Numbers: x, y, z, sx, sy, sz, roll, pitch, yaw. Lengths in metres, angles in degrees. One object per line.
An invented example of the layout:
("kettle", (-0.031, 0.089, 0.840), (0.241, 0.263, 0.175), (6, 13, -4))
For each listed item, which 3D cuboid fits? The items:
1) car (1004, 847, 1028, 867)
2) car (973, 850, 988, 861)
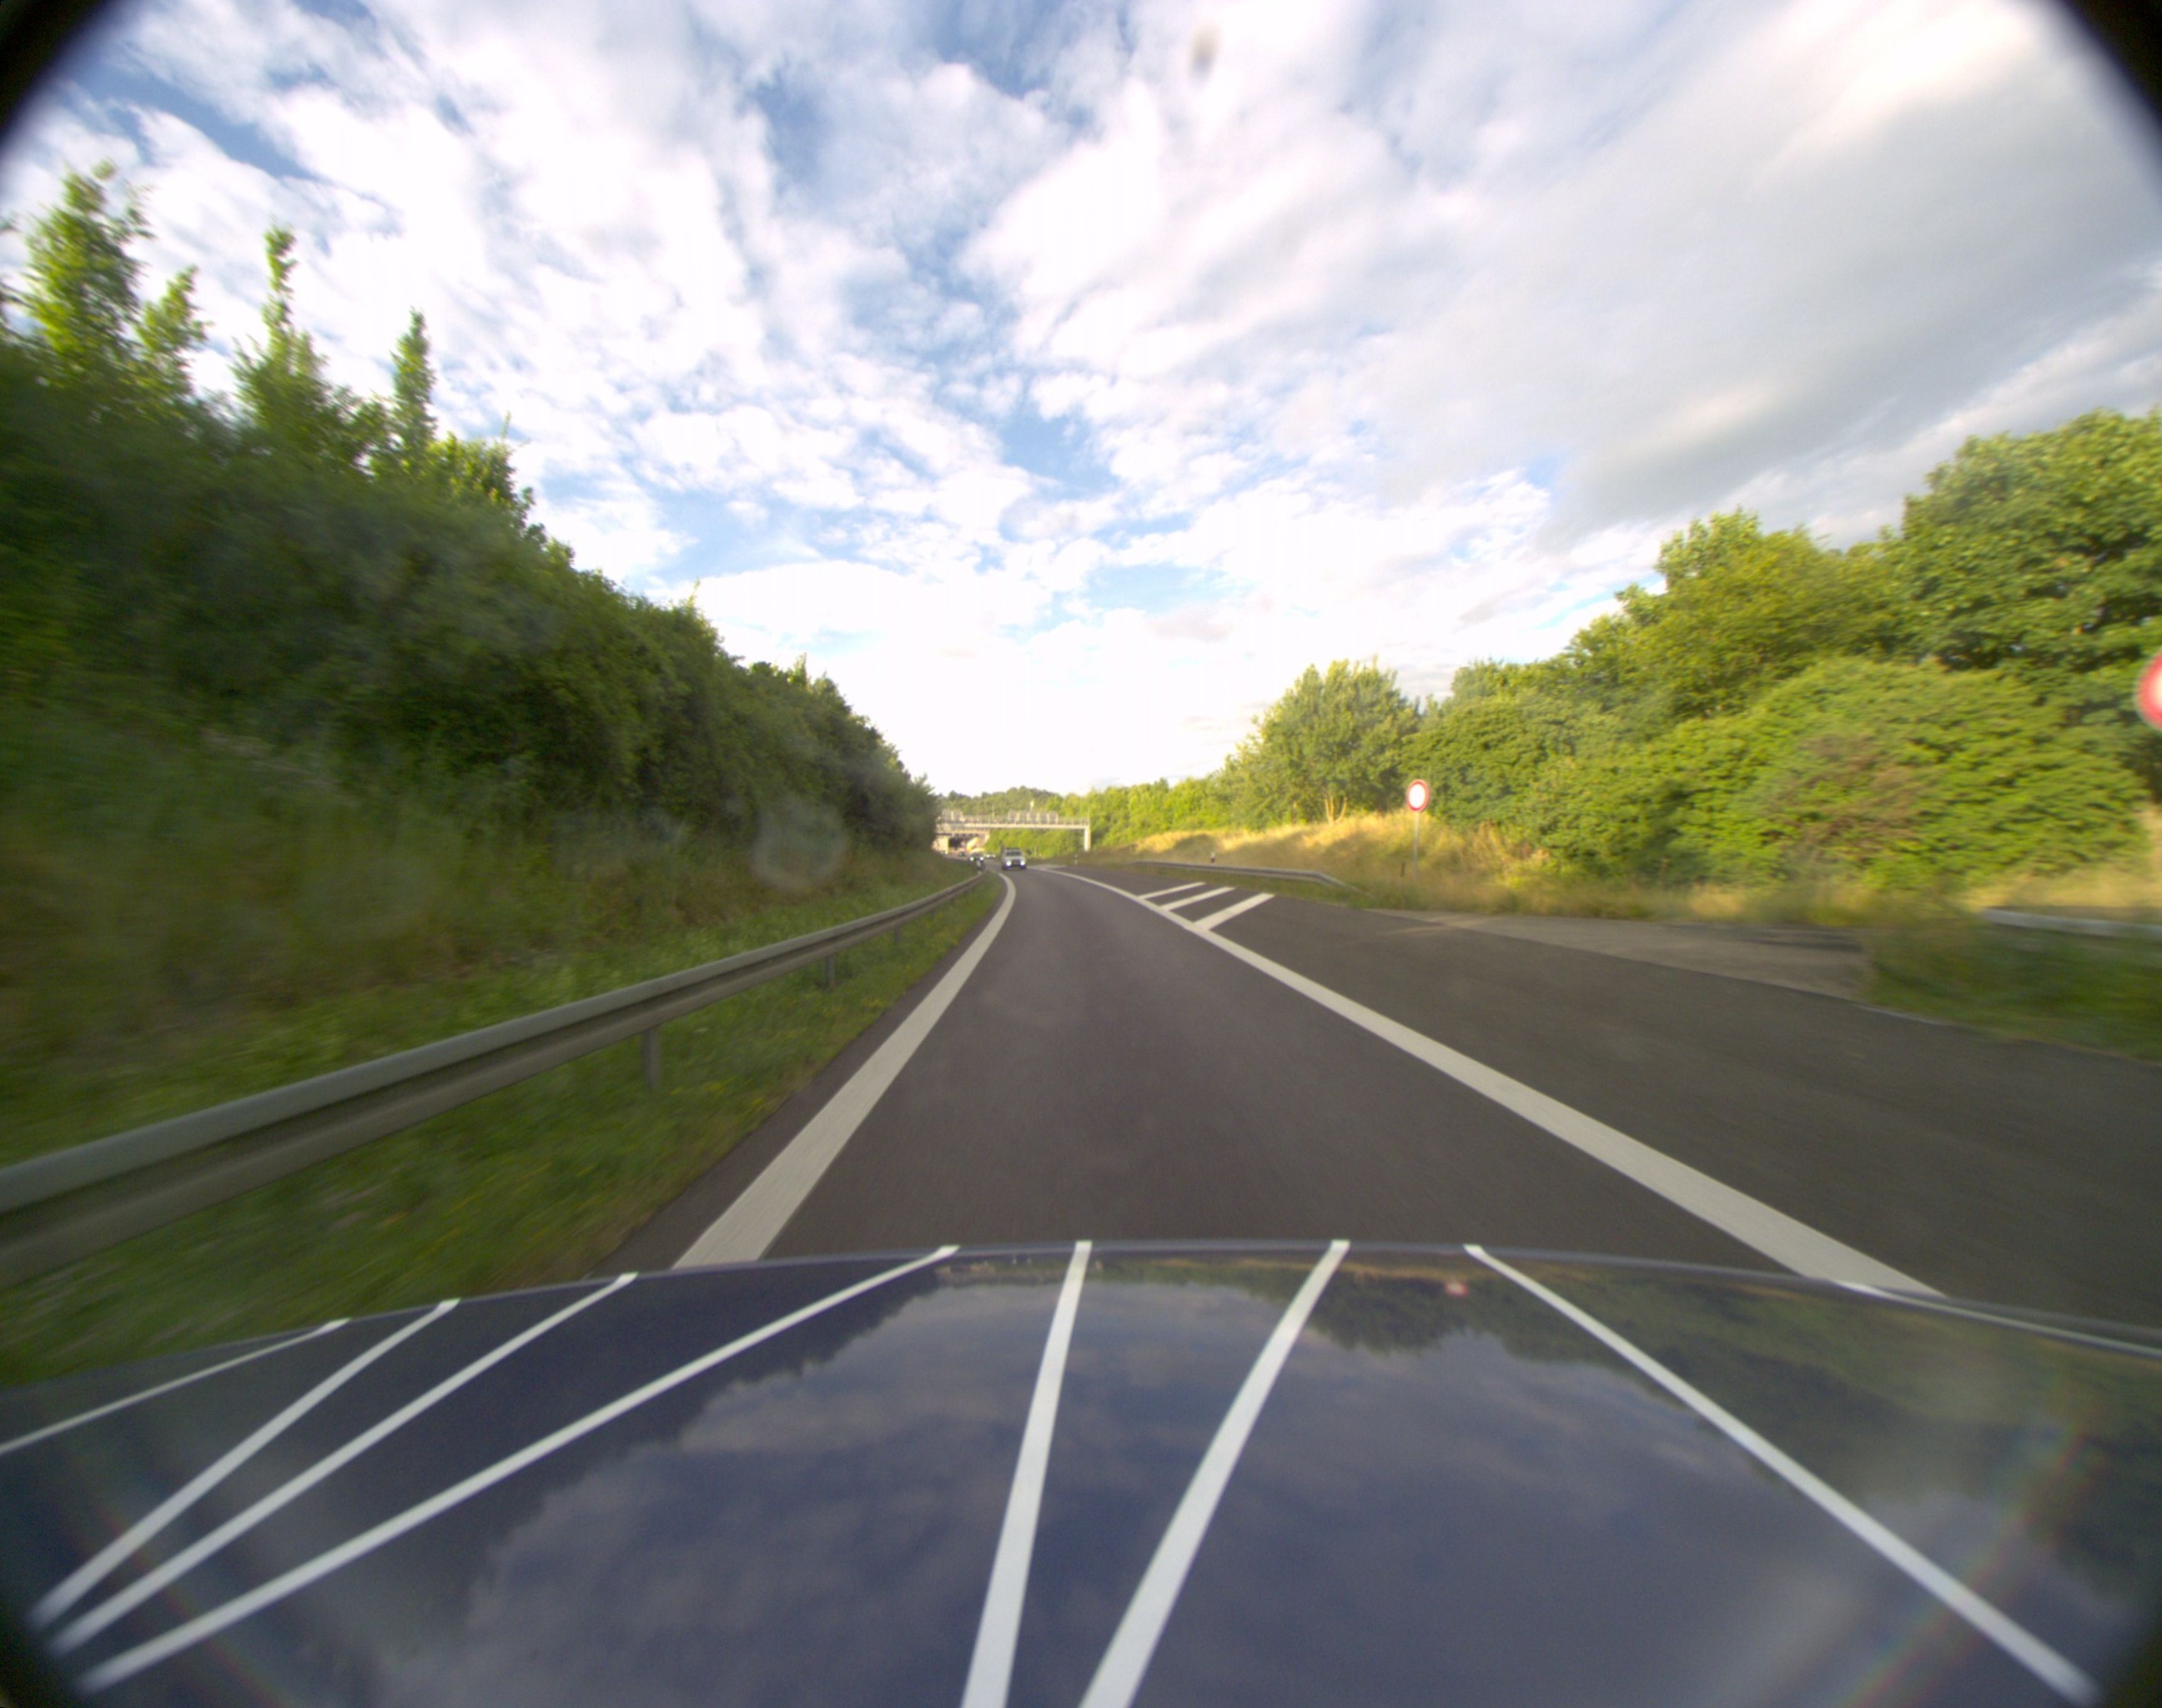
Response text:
("car", (-5.736, 0.214, 67.096), (1.906, 1.655, 3.996), (-1, 1, -8))
("car", (-13.833, 0.248, 104.726), (1.622, 1.451, 3.658), (-2, 1, -14))
